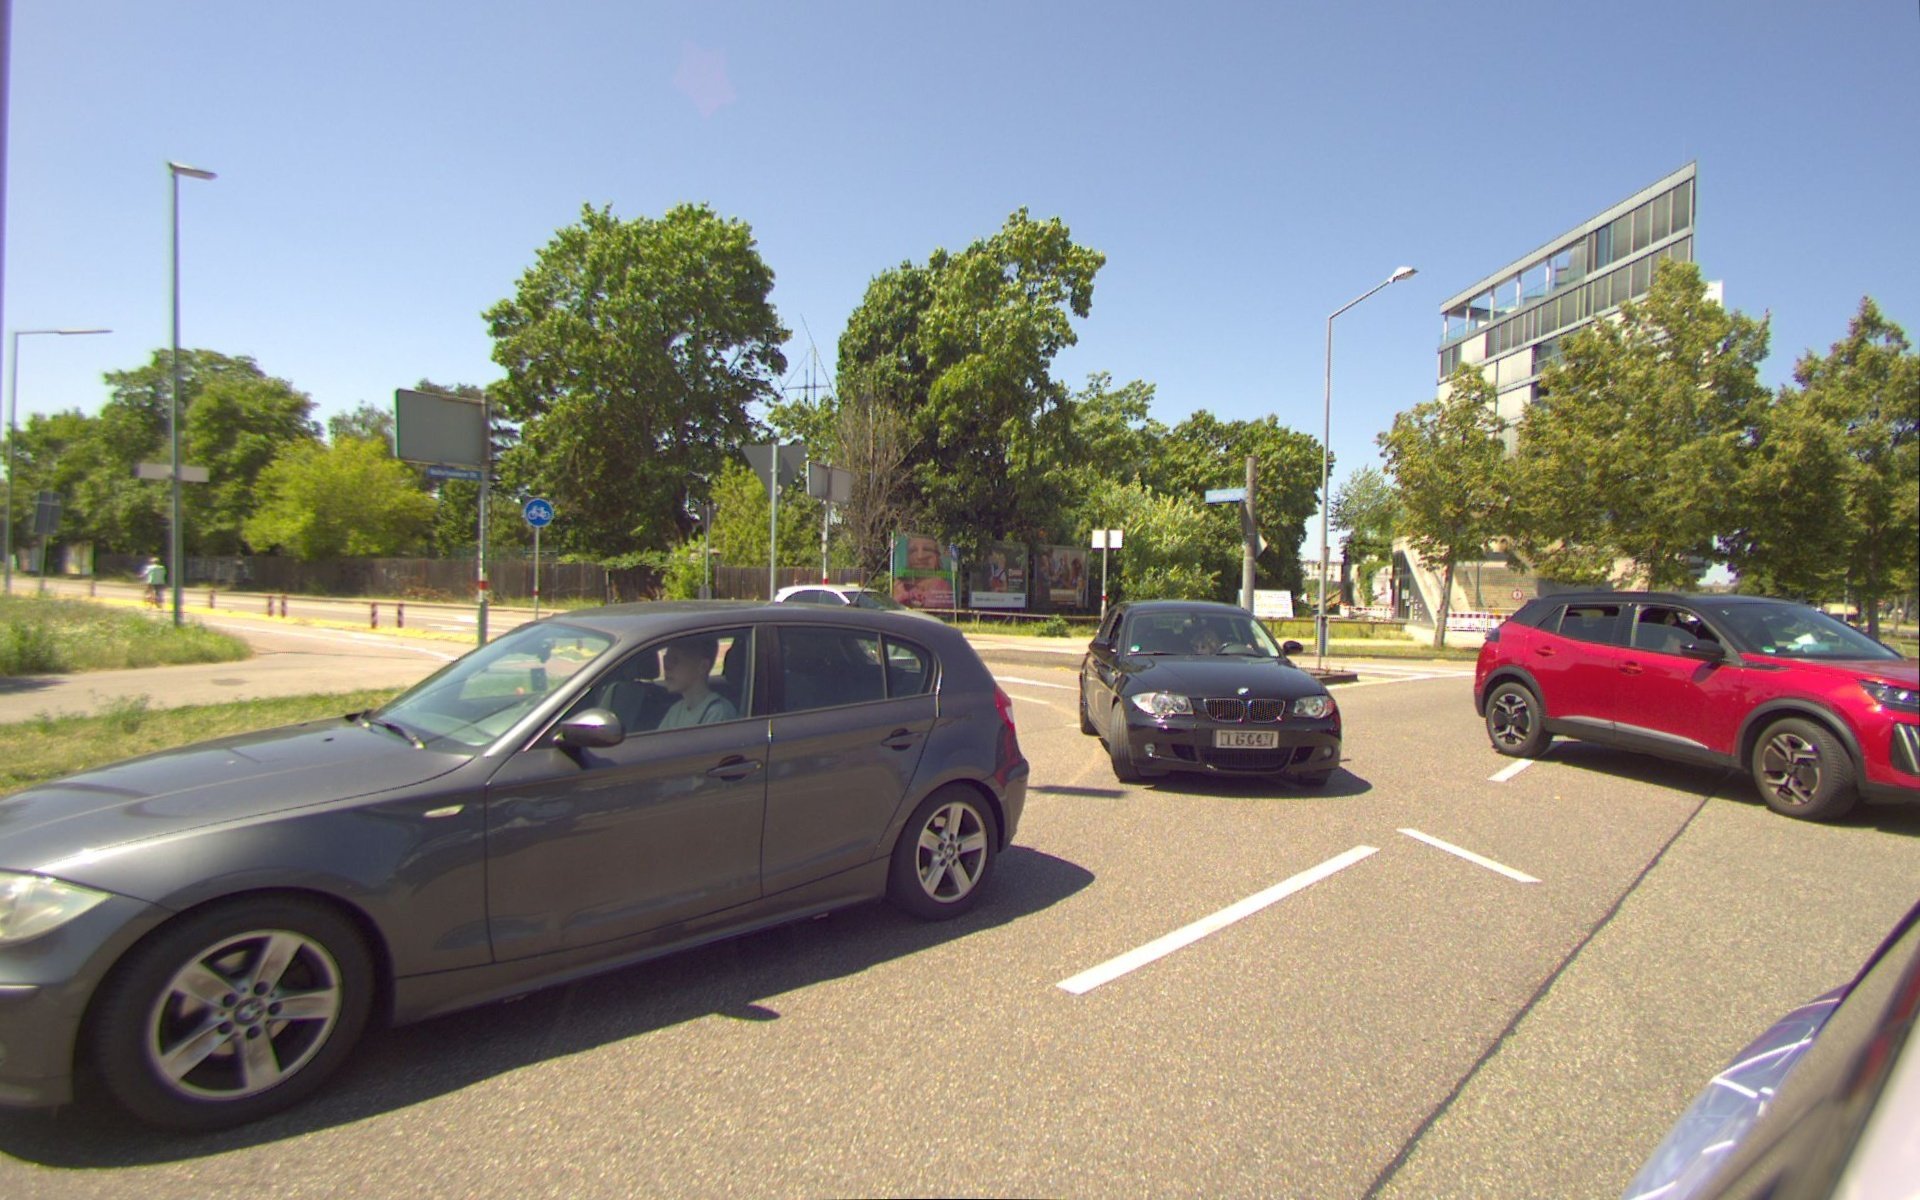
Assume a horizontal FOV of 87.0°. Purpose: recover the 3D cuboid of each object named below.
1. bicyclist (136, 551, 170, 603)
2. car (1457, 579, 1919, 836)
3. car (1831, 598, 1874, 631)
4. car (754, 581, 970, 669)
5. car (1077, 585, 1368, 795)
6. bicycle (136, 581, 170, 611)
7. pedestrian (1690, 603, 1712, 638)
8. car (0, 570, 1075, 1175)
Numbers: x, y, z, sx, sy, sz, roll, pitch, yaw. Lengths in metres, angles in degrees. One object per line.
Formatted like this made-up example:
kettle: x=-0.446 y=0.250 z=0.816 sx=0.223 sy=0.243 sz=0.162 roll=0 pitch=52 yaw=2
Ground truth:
bicyclist: x=-26.451 y=-0.754 z=33.174 sx=0.736 sy=1.661 sz=1.160 roll=1 pitch=0 yaw=-45
car: x=6.195 y=0.636 z=8.107 sx=1.685 sy=1.546 sz=4.220 roll=1 pitch=0 yaw=-12
car: x=71.612 y=1.132 z=81.239 sx=1.986 sy=2.540 sz=3.952 roll=2 pitch=0 yaw=33
car: x=-1.940 y=0.403 z=19.630 sx=3.976 sy=1.446 sz=1.840 roll=2 pitch=2 yaw=36
car: x=2.077 y=0.605 z=9.147 sx=1.770 sy=1.458 sz=3.997 roll=0 pitch=1 yaw=3
bicycle: x=-26.467 y=-0.144 z=33.179 sx=1.870 sy=0.890 sz=0.619 roll=3 pitch=2 yaw=44
pedestrian: x=41.088 y=1.138 z=56.127 sx=0.601 sy=1.892 sz=0.834 roll=-1 pitch=2 yaw=-40
car: x=-1.512 y=0.643 z=4.235 sx=4.010 sy=1.421 sz=1.750 roll=1 pitch=0 yaw=-42
